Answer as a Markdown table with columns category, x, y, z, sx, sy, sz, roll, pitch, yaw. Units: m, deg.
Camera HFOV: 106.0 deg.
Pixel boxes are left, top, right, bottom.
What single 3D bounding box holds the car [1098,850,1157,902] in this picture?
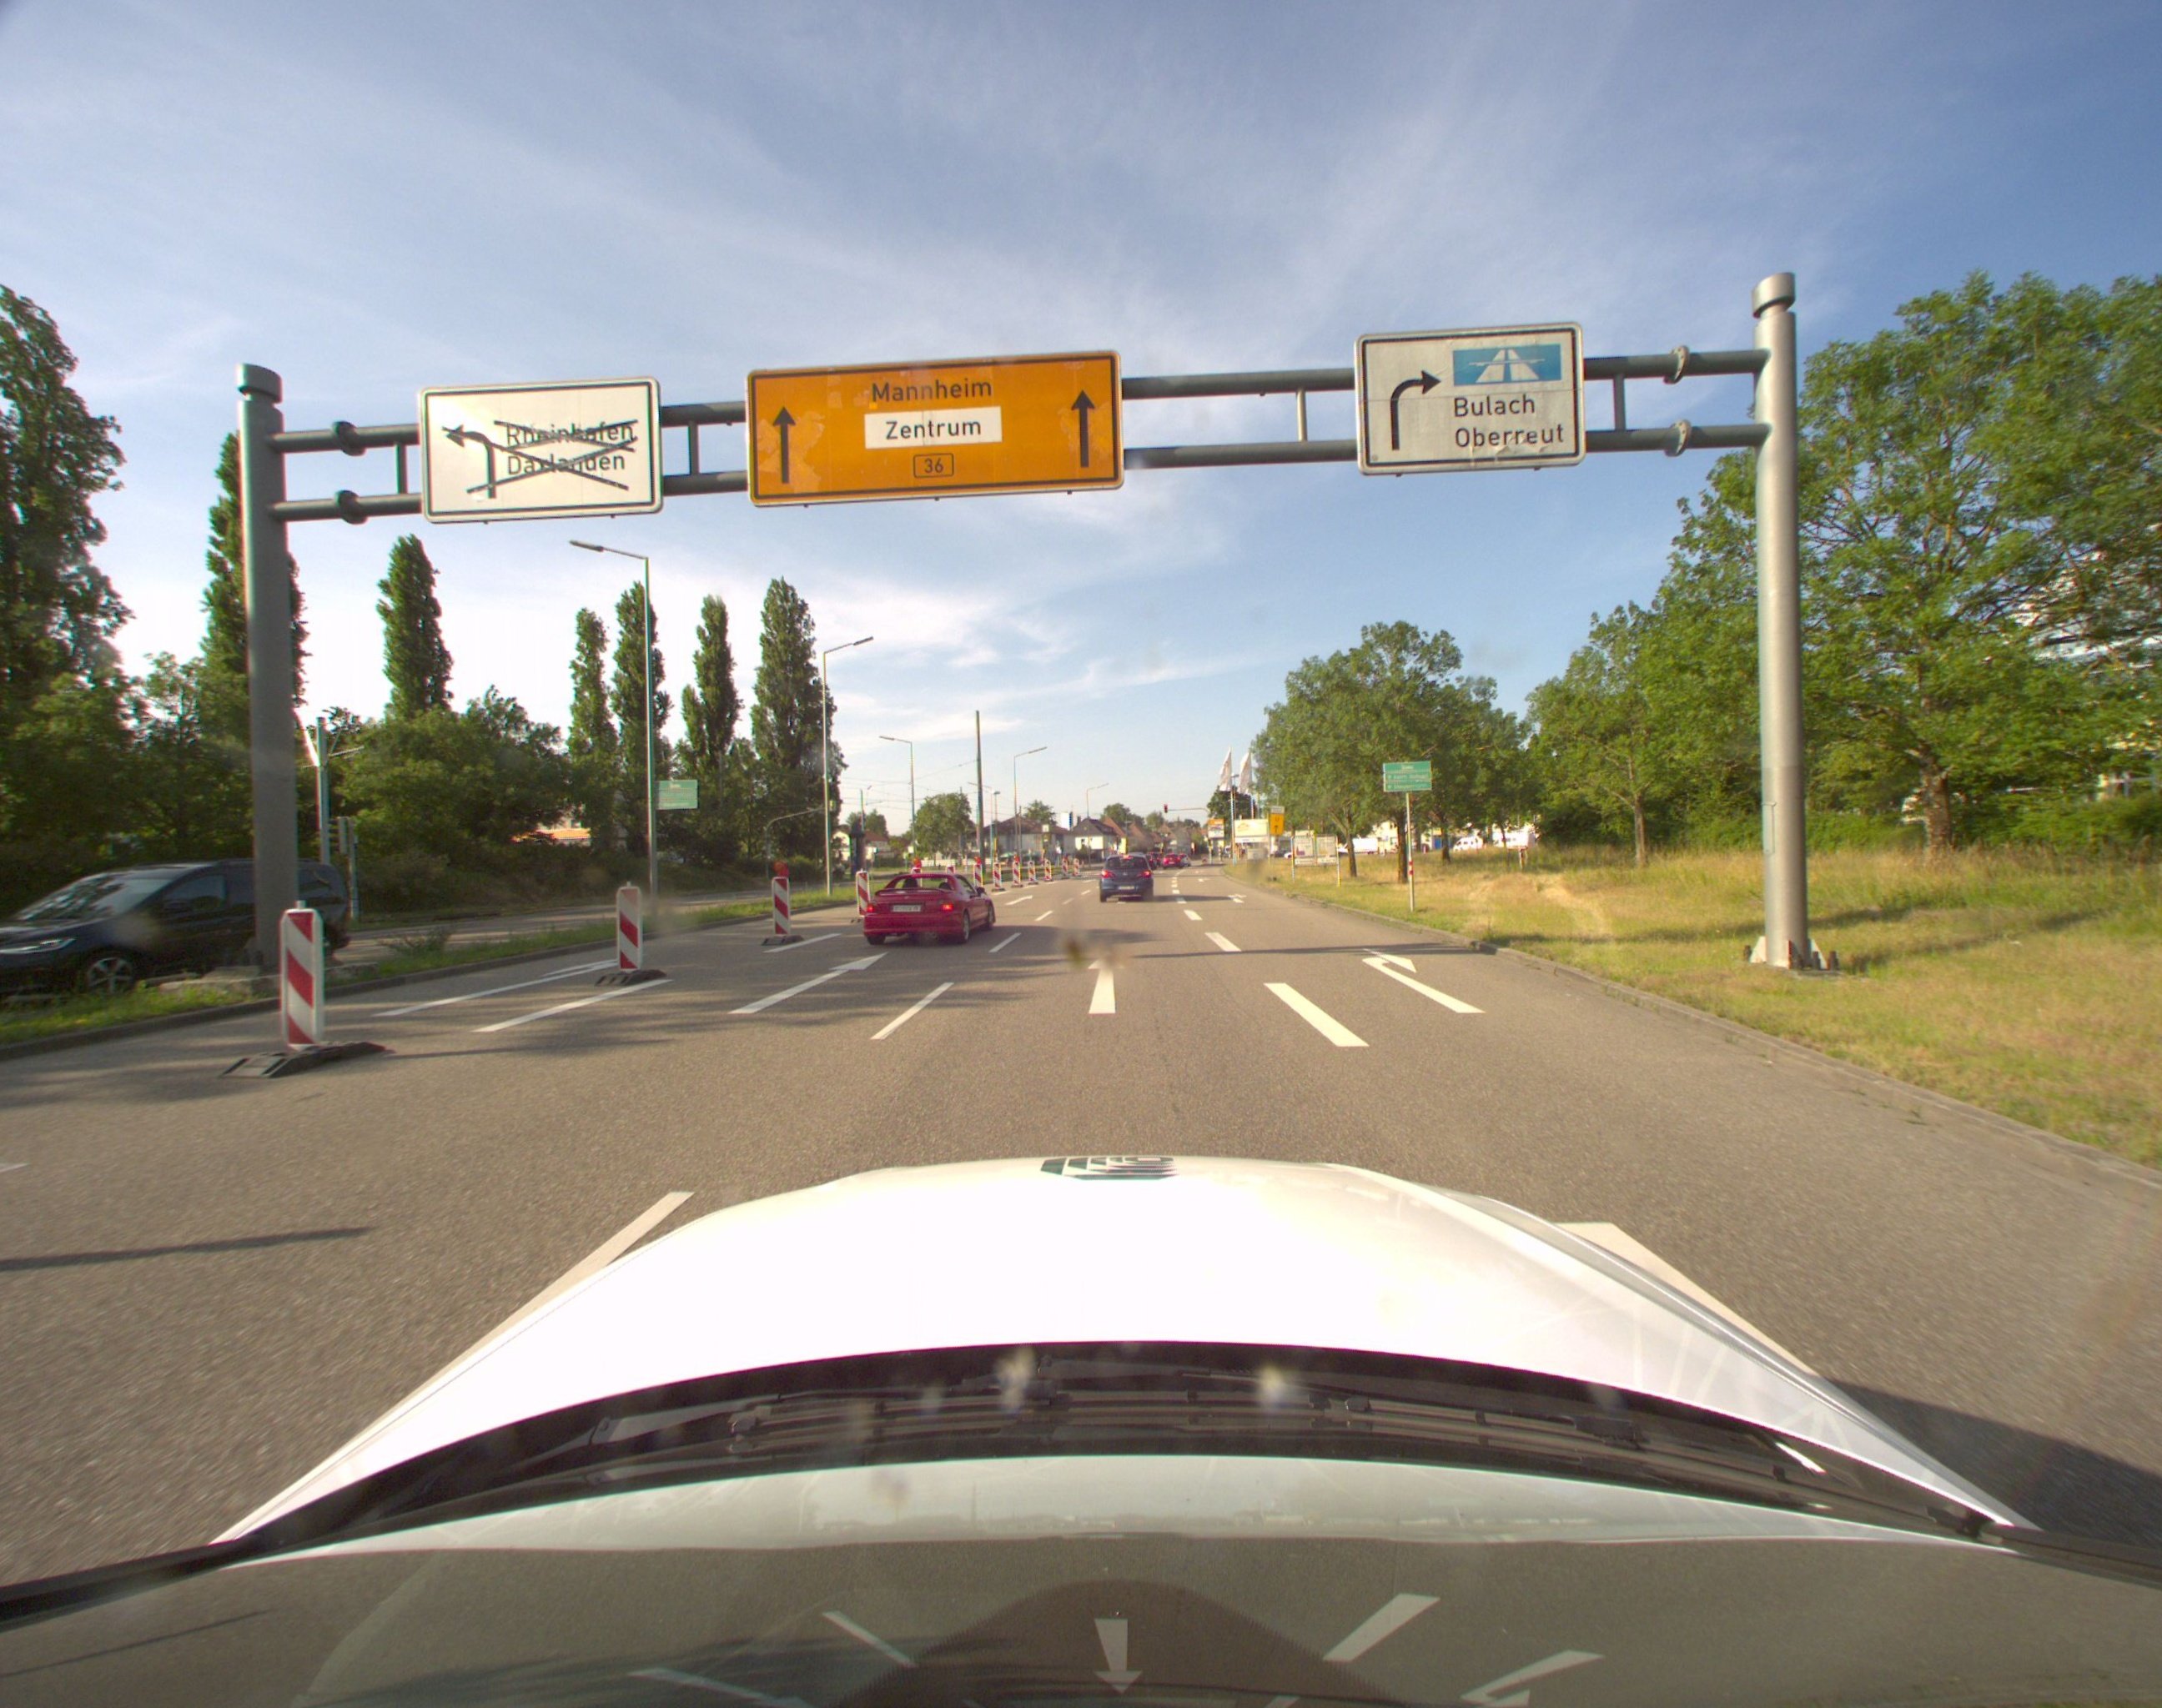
| category | x | y | z | sx | sy | sz | roll | pitch | yaw |
| --- | --- | --- | --- | --- | --- | --- | --- | --- | --- |
| car | 1.553 | 0.655 | 26.776 | 1.734 | 1.505 | 4.227 | -2 | 0 | 3 |

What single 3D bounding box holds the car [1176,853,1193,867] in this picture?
| category | x | y | z | sx | sy | sz | roll | pitch | yaw |
| --- | --- | --- | --- | --- | --- | --- | --- | --- | --- |
| car | 11.793 | 0.668 | 92.376 | 1.646 | 1.443 | 4.025 | -2 | 0 | 10 |

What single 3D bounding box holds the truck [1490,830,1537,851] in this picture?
| category | x | y | z | sx | sy | sz | roll | pitch | yaw |
| --- | --- | --- | --- | --- | --- | --- | --- | --- | --- |
| truck | 65.895 | -2.021 | 124.262 | 1.904 | 2.854 | 6.014 | -2 | -1 | -34 |

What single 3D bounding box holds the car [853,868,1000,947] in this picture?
| category | x | y | z | sx | sy | sz | roll | pitch | yaw |
| --- | --- | --- | --- | --- | --- | --- | --- | --- | --- |
| car | -2.715 | 0.905 | 15.185 | 1.723 | 1.206 | 3.852 | 0 | 0 | 5 |

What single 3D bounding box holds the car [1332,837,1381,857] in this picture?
| category | x | y | z | sx | sy | sz | roll | pitch | yaw |
| --- | --- | --- | --- | --- | --- | --- | --- | --- | --- |
| car | 38.264 | -0.948 | 113.302 | 6.166 | 2.583 | 2.007 | -2 | 0 | 12 |

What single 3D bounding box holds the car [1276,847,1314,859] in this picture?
| category | x | y | z | sx | sy | sz | roll | pitch | yaw |
| --- | --- | --- | --- | --- | --- | --- | --- | --- | --- |
| car | 30.173 | -0.124 | 114.908 | 5.059 | 1.563 | 1.846 | -2 | 0 | 13 |

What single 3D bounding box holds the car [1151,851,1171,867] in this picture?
| category | x | y | z | sx | sy | sz | roll | pitch | yaw |
| --- | --- | --- | --- | --- | --- | --- | --- | --- | --- |
| car | 9.170 | 0.563 | 92.697 | 1.495 | 1.651 | 4.763 | -2 | 0 | 15 |

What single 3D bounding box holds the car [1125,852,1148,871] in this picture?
| category | x | y | z | sx | sy | sz | roll | pitch | yaw |
| --- | --- | --- | --- | --- | --- | --- | --- | --- | --- |
| car | 5.135 | 0.646 | 74.947 | 1.753 | 1.670 | 4.095 | -1 | 0 | 9 |

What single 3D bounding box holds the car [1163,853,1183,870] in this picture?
| category | x | y | z | sx | sy | sz | roll | pitch | yaw |
| --- | --- | --- | --- | --- | --- | --- | --- | --- | --- |
| car | 8.943 | 0.699 | 78.947 | 1.696 | 1.552 | 3.988 | -2 | 0 | 10 |

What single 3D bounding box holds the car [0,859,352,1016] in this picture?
| category | x | y | z | sx | sy | sz | roll | pitch | yaw |
| --- | --- | --- | --- | --- | --- | --- | --- | --- | --- |
| car | -13.320 | 1.026 | 11.744 | 1.778 | 1.807 | 4.125 | -2 | 0 | 2 |

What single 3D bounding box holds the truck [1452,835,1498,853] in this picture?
| category | x | y | z | sx | sy | sz | roll | pitch | yaw |
| --- | --- | --- | --- | --- | --- | --- | --- | --- | --- |
| truck | 60.081 | -1.494 | 124.326 | 2.280 | 2.524 | 6.310 | -2 | 0 | -23 |

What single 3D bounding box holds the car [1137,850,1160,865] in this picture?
| category | x | y | z | sx | sy | sz | roll | pitch | yaw |
| --- | --- | --- | --- | --- | --- | --- | --- | --- | --- |
| car | 7.081 | 0.357 | 84.788 | 1.688 | 1.508 | 4.570 | -1 | 0 | 13 |

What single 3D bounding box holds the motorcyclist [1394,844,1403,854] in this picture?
| category | x | y | z | sx | sy | sz | roll | pitch | yaw |
| --- | --- | --- | --- | --- | --- | --- | --- | --- | --- |
| motorcyclist | 43.425 | -0.687 | 111.370 | 1.058 | 1.352 | 0.682 | -2 | 0 | 11 |

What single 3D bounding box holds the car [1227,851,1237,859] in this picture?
| category | x | y | z | sx | sy | sz | roll | pitch | yaw |
| --- | --- | --- | --- | --- | --- | --- | --- | --- | --- |
| car | 30.452 | 0.198 | 164.195 | 1.663 | 1.398 | 4.014 | -1 | -1 | 13 |

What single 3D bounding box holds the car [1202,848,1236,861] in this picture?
| category | x | y | z | sx | sy | sz | roll | pitch | yaw |
| --- | --- | --- | --- | --- | --- | --- | --- | --- | --- |
| car | 17.490 | 0.091 | 102.969 | 3.956 | 1.486 | 2.009 | -2 | 0 | 16 |
